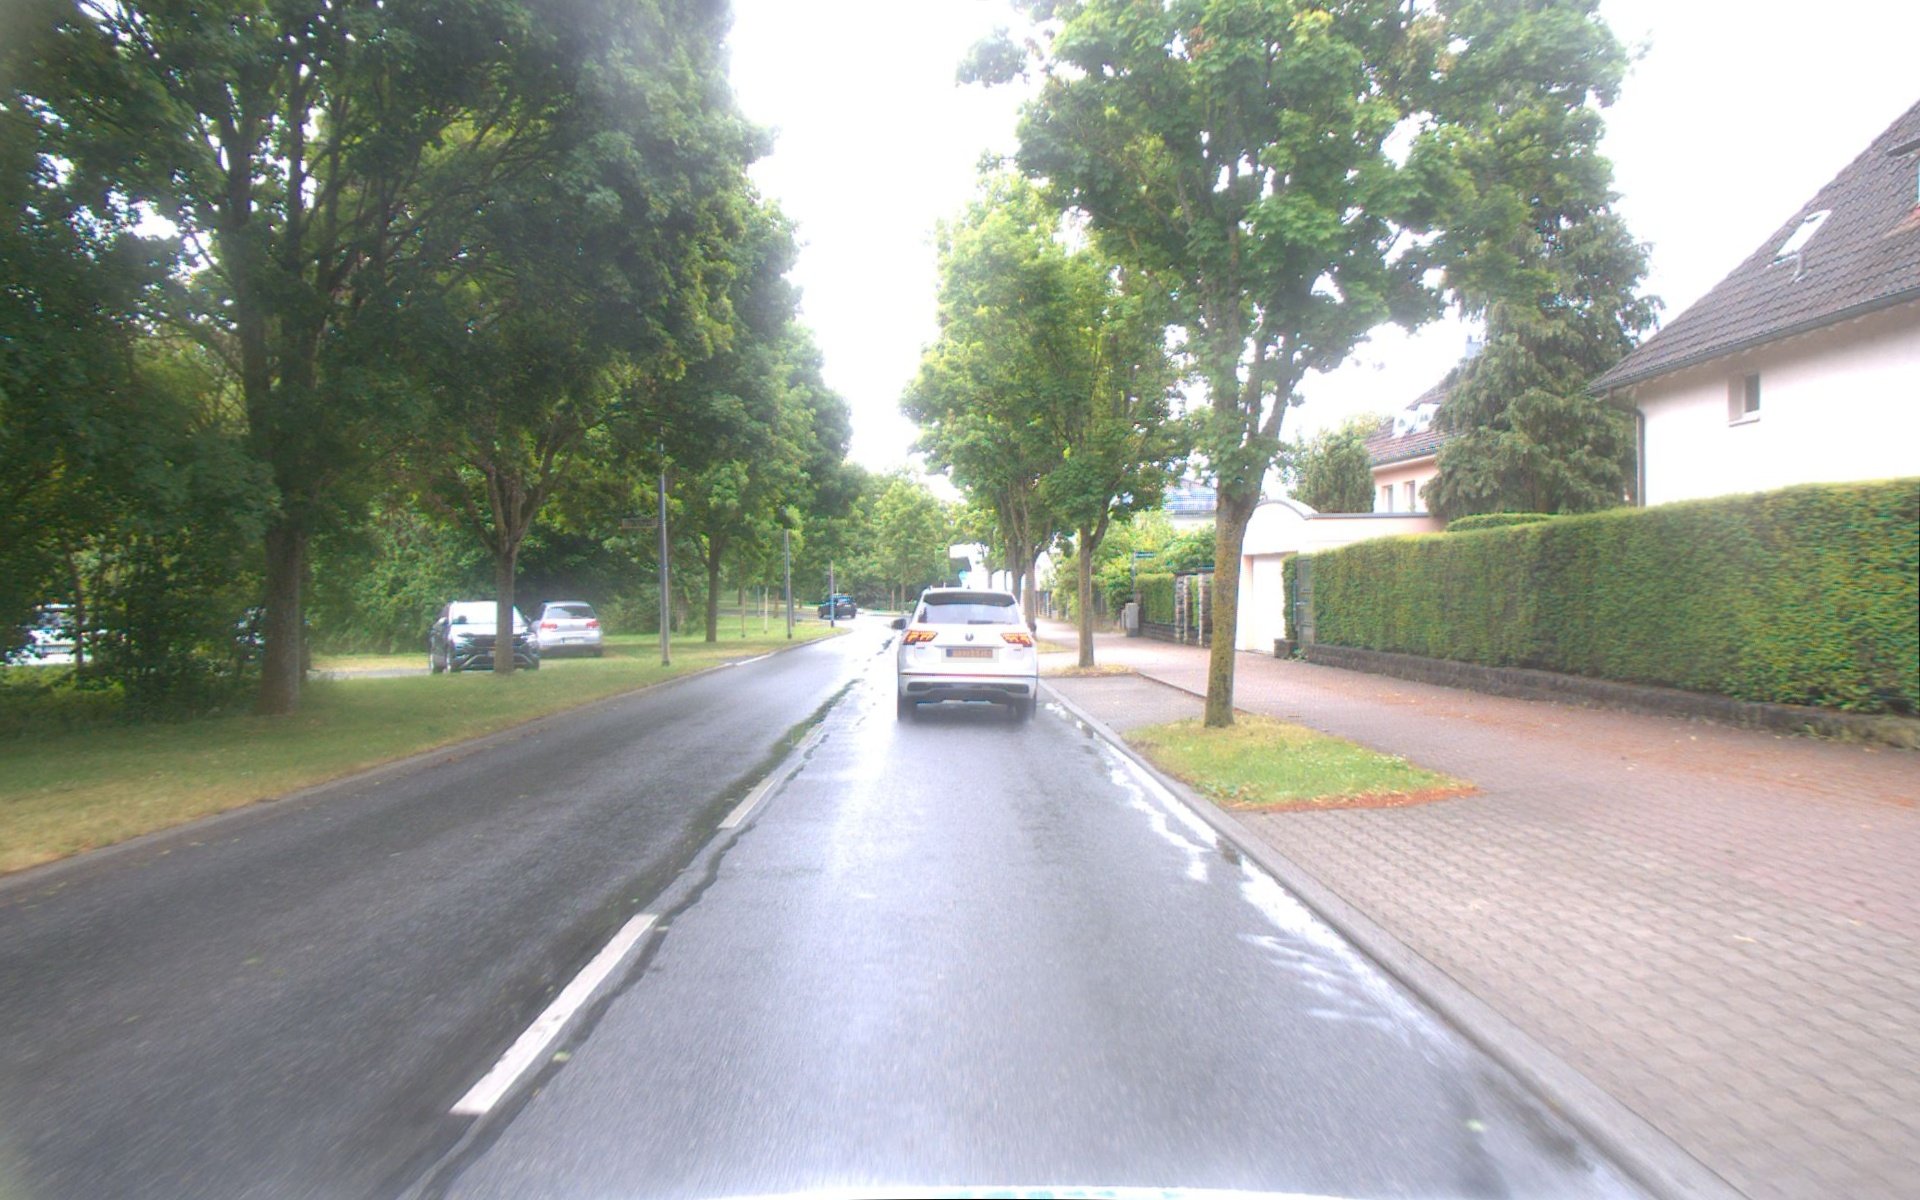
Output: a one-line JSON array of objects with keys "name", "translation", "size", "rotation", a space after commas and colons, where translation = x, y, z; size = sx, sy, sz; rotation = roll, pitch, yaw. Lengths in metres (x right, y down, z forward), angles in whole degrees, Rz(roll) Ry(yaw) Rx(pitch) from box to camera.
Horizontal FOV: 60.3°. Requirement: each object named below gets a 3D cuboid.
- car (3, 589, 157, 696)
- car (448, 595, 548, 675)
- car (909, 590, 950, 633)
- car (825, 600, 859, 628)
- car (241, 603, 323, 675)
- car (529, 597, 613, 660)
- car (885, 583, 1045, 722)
[{"name": "car", "translation": [-16.530, 0.822, 31.291], "size": [1.876, 1.801, 4.868], "rotation": [-2, -2, -20]}, {"name": "car", "translation": [-9.485, 0.679, 34.175], "size": [1.857, 1.540, 4.234], "rotation": [-1, 0, -14]}, {"name": "car", "translation": [-1.535, 0.564, 81.461], "size": [1.863, 2.049, 3.942], "rotation": [1, 0, -3]}, {"name": "car", "translation": [-8.811, 1.057, 123.505], "size": [1.869, 2.049, 3.929], "rotation": [1, 0, -14]}, {"name": "car", "translation": [-17.512, 0.949, 42.625], "size": [1.838, 1.534, 4.573], "rotation": [-2, 2, -24]}, {"name": "car", "translation": [-10.742, 0.728, 45.473], "size": [1.852, 1.454, 4.195], "rotation": [-2, 3, -18]}, {"name": "car", "translation": [0.056, 0.635, 22.240], "size": [1.934, 1.682, 4.177], "rotation": [0, 0, 0]}]
